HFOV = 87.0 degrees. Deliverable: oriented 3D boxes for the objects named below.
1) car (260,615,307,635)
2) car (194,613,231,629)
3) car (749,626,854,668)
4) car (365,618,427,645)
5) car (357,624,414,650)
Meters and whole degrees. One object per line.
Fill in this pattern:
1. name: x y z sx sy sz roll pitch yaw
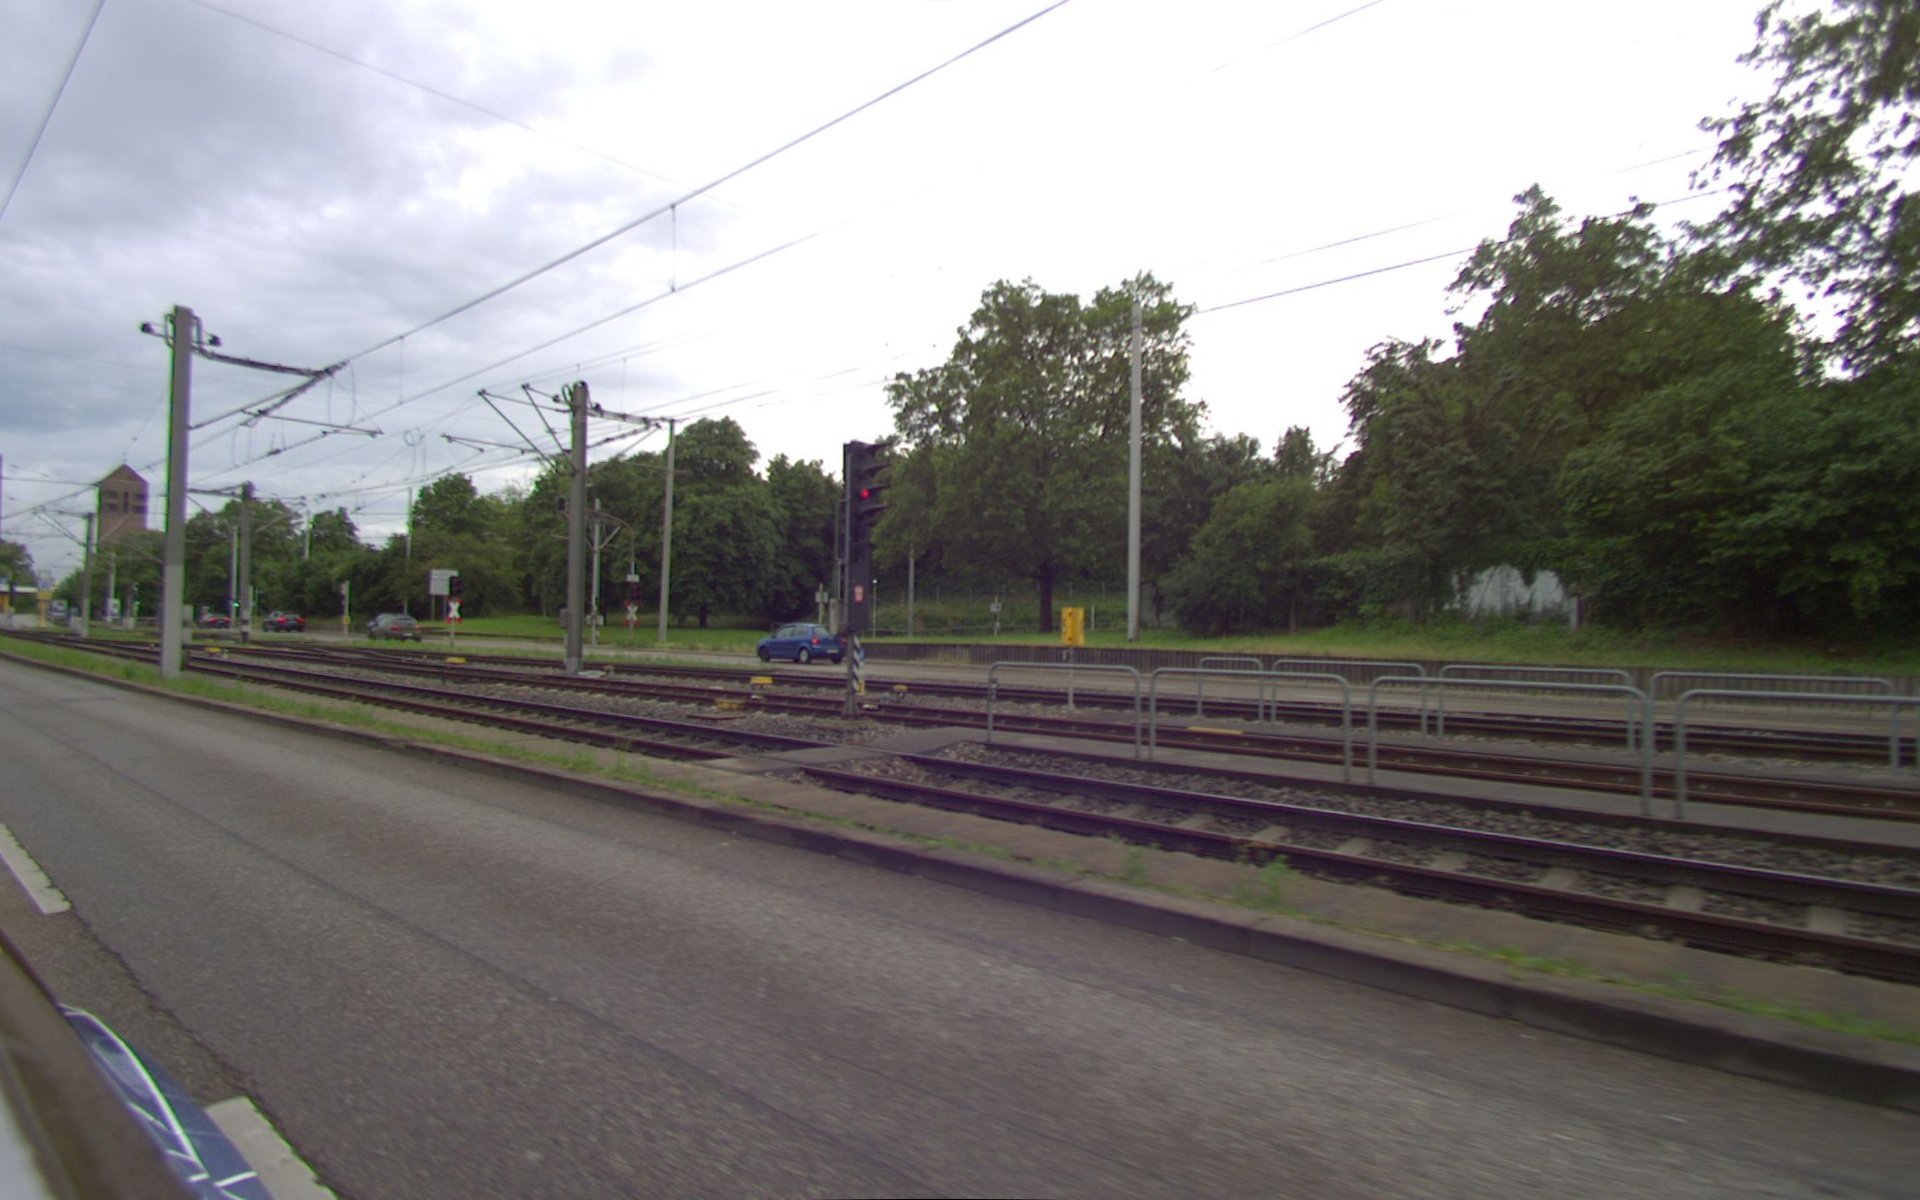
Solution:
1. car: -55.448 2.034 82.913 5.159 1.601 2.066 -1 -3 43
2. car: -71.442 2.043 96.751 4.680 1.458 1.906 -1 -3 42
3. car: -5.779 1.669 36.674 3.901 1.408 1.741 -1 -3 44
4. car: -32.049 1.775 57.503 4.309 1.498 1.870 -1 -3 44
5. car: -37.858 2.403 66.619 4.848 1.607 1.926 -1 -3 44
